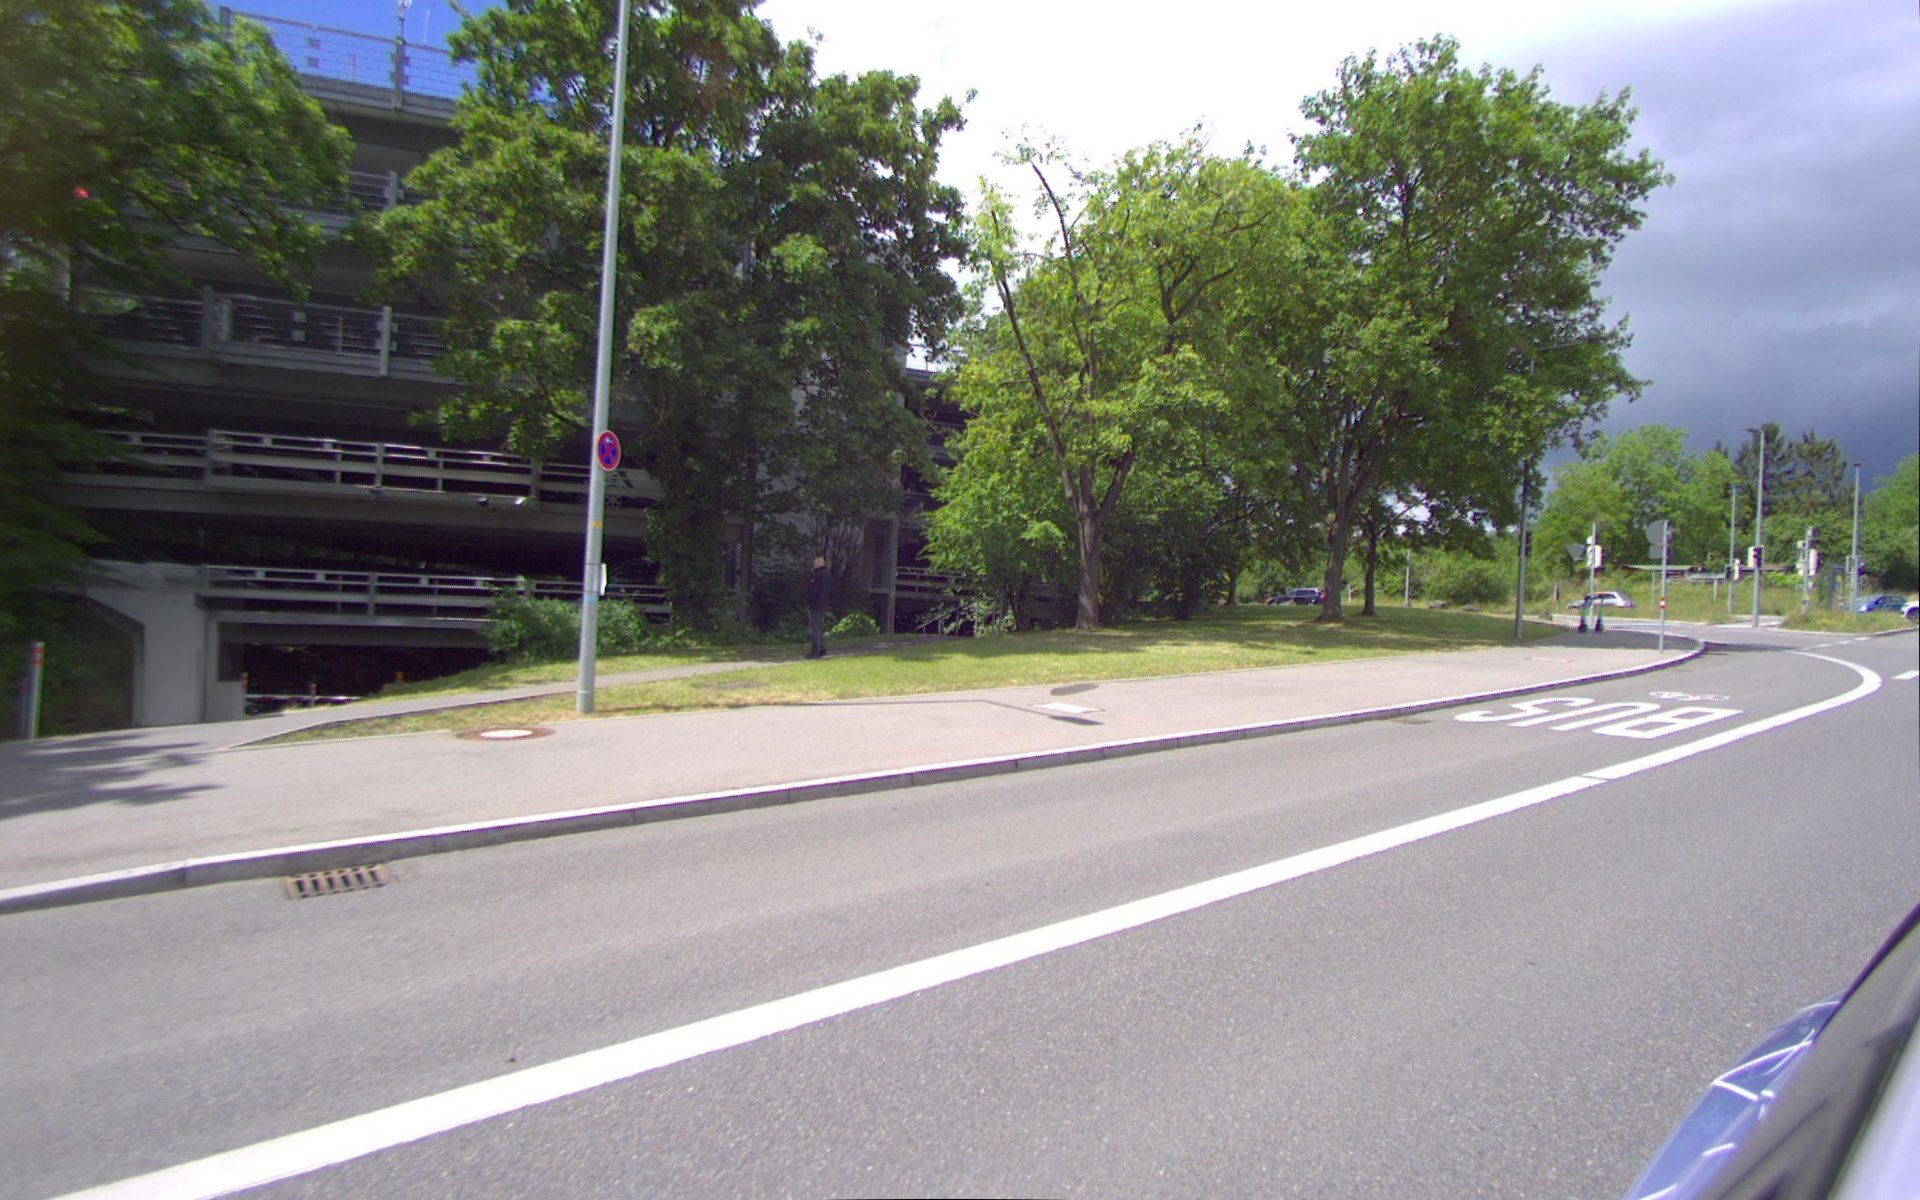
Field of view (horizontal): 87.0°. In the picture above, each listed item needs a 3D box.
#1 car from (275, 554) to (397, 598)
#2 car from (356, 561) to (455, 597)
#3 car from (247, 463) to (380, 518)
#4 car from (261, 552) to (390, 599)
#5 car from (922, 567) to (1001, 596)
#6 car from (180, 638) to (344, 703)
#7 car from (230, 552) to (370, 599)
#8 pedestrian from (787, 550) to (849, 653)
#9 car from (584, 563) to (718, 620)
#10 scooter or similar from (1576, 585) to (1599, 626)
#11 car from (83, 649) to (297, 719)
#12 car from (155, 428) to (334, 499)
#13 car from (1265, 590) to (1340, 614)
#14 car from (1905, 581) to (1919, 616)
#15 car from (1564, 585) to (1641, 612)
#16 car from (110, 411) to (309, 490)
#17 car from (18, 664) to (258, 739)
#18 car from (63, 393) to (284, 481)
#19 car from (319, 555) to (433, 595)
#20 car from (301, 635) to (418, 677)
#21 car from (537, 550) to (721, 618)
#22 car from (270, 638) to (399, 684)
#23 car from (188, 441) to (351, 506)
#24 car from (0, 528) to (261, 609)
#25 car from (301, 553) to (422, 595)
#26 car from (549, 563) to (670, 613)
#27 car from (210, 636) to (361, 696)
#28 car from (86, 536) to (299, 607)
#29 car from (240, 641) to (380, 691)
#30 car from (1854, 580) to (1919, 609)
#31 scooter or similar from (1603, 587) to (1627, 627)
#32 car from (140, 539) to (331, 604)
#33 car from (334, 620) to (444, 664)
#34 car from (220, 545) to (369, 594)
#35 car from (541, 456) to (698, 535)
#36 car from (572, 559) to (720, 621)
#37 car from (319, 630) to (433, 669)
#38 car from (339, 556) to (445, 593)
[{"bbox_3d":[-23.121,-0.888,37.631,3.547,1.560,1.761,0,1,-18],"label":"car"},{"bbox_3d":[-26.591,-0.978,48.660,3.889,1.659,1.761,0,1,-18],"label":"car"},{"bbox_3d":[-21.307,-3.586,33.492,3.428,1.543,1.494,0,1,-18],"label":"car"},{"bbox_3d":[-22.284,-0.839,35.688,3.547,1.560,1.761,0,1,-18],"label":"car"},{"bbox_3d":[0.067,-0.947,52.486,3.718,1.309,1.780,3,-1,-18],"label":"car"},{"bbox_3d":[-20.078,2.003,29.293,3.547,1.659,1.761,0,1,-18],"label":"car"},{"bbox_3d":[-21.767,-0.788,33.506,3.547,1.461,1.761,0,1,-18],"label":"car"},{"bbox_3d":[-2.502,0.027,17.835,0.588,1.740,0.762,2,-3,42],"label":"pedestrian"},{"bbox_3d":[-9.312,-0.233,30.614,3.718,1.491,1.780,3,-1,-18],"label":"car"},{"bbox_3d":[20.476,0.172,33.034,0.529,1.279,1.178,3,2,29],"label":"scooter or similar"},{"bbox_3d":[-18.677,2.053,24.749,3.718,1.491,1.780,3,-1,-18],"label":"car"},{"bbox_3d":[-18.896,-3.583,26.888,3.547,1.543,1.637,0,1,-18],"label":"car"},{"bbox_3d":[25.122,0.111,74.433,1.877,1.711,4.974,-1,1,-41],"label":"car"},{"bbox_3d":[47.204,-0.050,46.747,1.697,1.679,4.910,1,0,-24],"label":"car"},{"bbox_3d":[37.888,-0.096,59.722,1.557,1.479,3.519,4,-2,-40],"label":"car"},{"bbox_3d":[-18.146,-3.588,24.634,3.547,1.543,1.637,0,1,-18],"label":"car"},{"bbox_3d":[-18.155,2.246,22.544,3.718,1.452,1.700,3,-1,-18],"label":"car"},{"bbox_3d":[-17.443,-3.590,22.627,3.547,1.543,1.637,0,1,-18],"label":"car"},{"bbox_3d":[-24.229,-1.024,42.113,3.806,1.560,1.761,0,1,-18],"label":"car"},{"bbox_3d":[-22.726,2.095,38.444,3.547,1.431,1.577,0,1,-18],"label":"car"},{"bbox_3d":[-8.340,-0.395,25.679,4.299,1.615,1.660,0,0,-18],"label":"car"},{"bbox_3d":[-21.857,2.115,35.500,3.547,1.431,1.577,0,1,-18],"label":"car"},{"bbox_3d":[-19.672,-3.583,28.983,3.547,1.543,1.637,0,1,-18],"label":"car"},{"bbox_3d":[-18.192,-0.647,22.416,4.052,1.491,1.780,3,-1,-18],"label":"car"},{"bbox_3d":[-23.483,-1.012,39.840,3.806,1.560,1.761,0,1,-18],"label":"car"},{"bbox_3d":[-11.152,-0.376,32.300,3.547,1.543,1.637,0,1,-18],"label":"car"},{"bbox_3d":[-20.806,2.005,31.361,3.547,1.659,1.761,0,1,-18],"label":"car"},{"bbox_3d":[-18.654,-0.657,24.800,3.718,1.491,1.780,3,-1,-18],"label":"car"},{"bbox_3d":[-21.311,2.138,33.351,3.547,1.461,1.761,0,1,-18],"label":"car"},{"bbox_3d":[56.042,-0.349,60.206,4.356,1.657,1.914,0,1,-9],"label":"car"},{"bbox_3d":[21.854,0.217,33.794,0.529,1.279,1.178,3,2,29],"label":"scooter or similar"},{"bbox_3d":[-19.199,-0.709,26.997,3.718,1.491,1.780,3,-1,-18],"label":"car"},{"bbox_3d":[-25.302,1.825,44.992,3.916,1.794,1.889,0,0,-17],"label":"car"},{"bbox_3d":[-20.594,-0.928,31.466,3.547,1.449,1.637,0,1,-18],"label":"car"},{"bbox_3d":[-9.298,-2.817,27.779,3.915,1.817,1.940,1,-1,-18],"label":"car"},{"bbox_3d":[-8.637,-0.256,27.934,3.718,1.491,1.780,3,-1,-18],"label":"car"},{"bbox_3d":[-24.152,2.043,41.970,3.806,1.459,1.761,0,1,-18],"label":"car"},{"bbox_3d":[-25.229,-1.104,45.085,3.806,1.560,1.761,0,1,-18],"label":"car"}]
